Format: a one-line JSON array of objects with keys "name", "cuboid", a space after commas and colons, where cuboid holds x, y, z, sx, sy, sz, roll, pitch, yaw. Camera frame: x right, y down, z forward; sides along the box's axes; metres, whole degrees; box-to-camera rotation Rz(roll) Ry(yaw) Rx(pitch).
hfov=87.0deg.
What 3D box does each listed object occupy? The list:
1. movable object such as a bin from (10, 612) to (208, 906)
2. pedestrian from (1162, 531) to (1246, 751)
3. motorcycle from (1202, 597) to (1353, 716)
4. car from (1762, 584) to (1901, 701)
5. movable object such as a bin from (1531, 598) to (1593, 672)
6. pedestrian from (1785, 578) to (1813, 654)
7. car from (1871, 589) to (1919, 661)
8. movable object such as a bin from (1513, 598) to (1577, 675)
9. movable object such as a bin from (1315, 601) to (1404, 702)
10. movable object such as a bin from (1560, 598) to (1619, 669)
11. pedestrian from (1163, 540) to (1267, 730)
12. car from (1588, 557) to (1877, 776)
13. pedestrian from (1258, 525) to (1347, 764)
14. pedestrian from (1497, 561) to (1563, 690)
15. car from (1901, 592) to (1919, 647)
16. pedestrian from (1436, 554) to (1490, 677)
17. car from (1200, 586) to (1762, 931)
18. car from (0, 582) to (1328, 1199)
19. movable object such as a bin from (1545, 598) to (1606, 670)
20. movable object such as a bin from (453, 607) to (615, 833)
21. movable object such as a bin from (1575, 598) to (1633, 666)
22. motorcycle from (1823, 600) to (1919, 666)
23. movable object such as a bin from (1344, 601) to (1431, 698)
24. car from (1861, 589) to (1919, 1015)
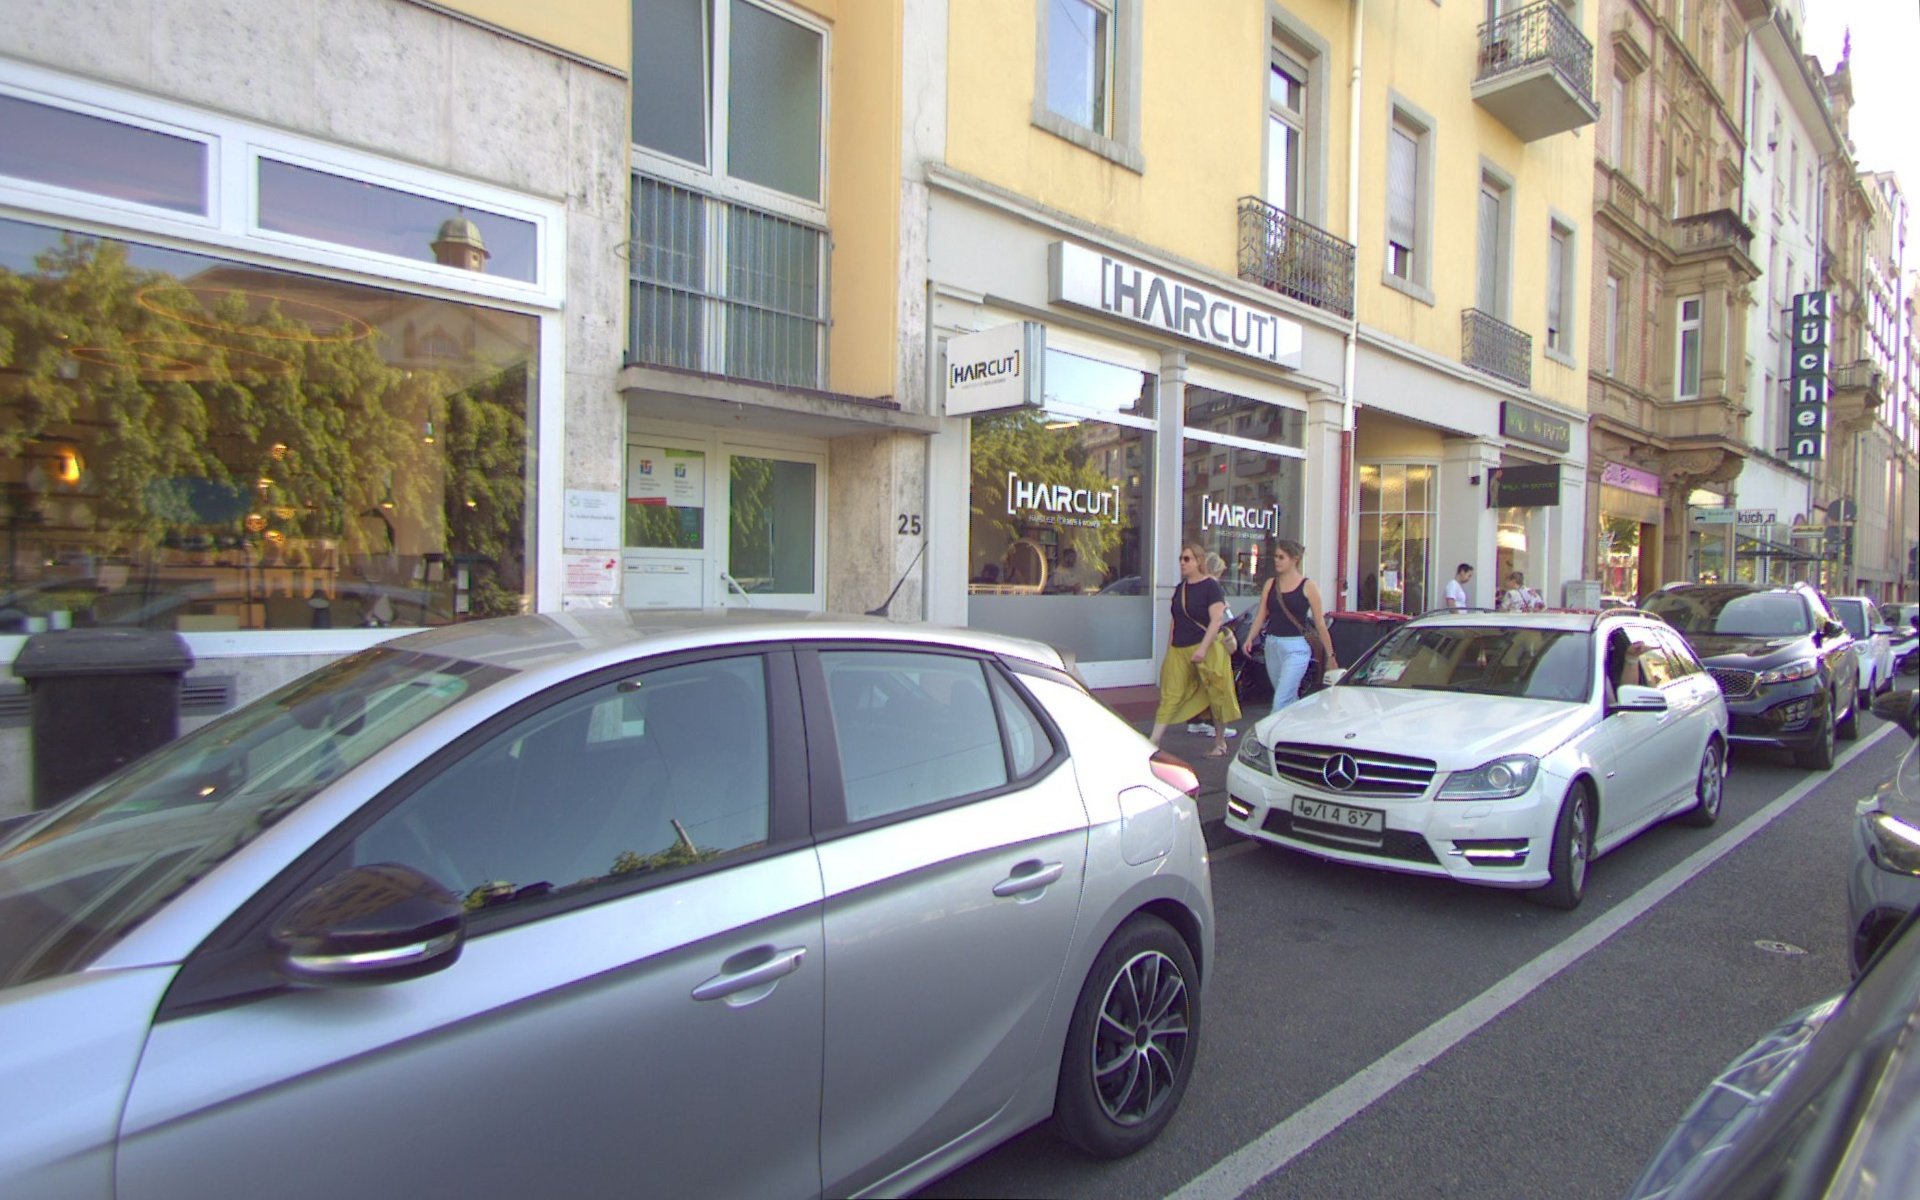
[{"name": "movable object such as a bin", "cuboid": [-3.662, 0.622, 4.372, 0.609, 1.080, 0.704, 0, 4, -41]}, {"name": "pedestrian", "cuboid": [1.912, 0.303, 7.912, 0.610, 1.653, 0.460, 1, 0, 17]}, {"name": "motorcycle", "cuboid": [3.343, 0.536, 10.543, 1.975, 1.105, 0.551, 0, 2, -42]}, {"name": "car", "cuboid": [12.795, 0.547, 14.815, 2.748, 1.537, 1.273, 0, 1, -44]}, {"name": "movable object such as a bin", "cuboid": [9.308, 0.531, 15.659, 0.608, 1.079, 0.606, 0, 4, -41]}, {"name": "pedestrian", "cuboid": [19.983, 0.366, 24.106, 0.473, 1.785, 0.434, 0, 0, -41]}, {"name": "car", "cuboid": [22.061, 0.526, 22.979, 4.096, 1.537, 1.734, 0, 1, -44]}, {"name": "movable object such as a bin", "cuboid": [8.819, 0.537, 15.253, 0.608, 1.079, 0.606, 0, 4, -41]}, {"name": "movable object such as a bin", "cuboid": [4.503, 0.558, 11.420, 0.608, 1.054, 0.661, 1, 3, -38]}, {"name": "movable object such as a bin", "cuboid": [10.237, 0.531, 16.459, 0.608, 1.079, 0.606, 0, 4, -41]}, {"name": "pedestrian", "cuboid": [2.326, 0.293, 9.250, 0.523, 1.653, 0.697, 0, 2, -43]}, {"name": "car", "cuboid": [8.036, 0.505, 10.349, 4.498, 1.758, 1.756, 0, 1, -45]}, {"name": "pedestrian", "cuboid": [2.471, 0.302, 7.295, 0.511, 1.653, 0.410, 1, 0, 33]}, {"name": "pedestrian", "cuboid": [7.652, 0.327, 13.597, 0.583, 1.681, 0.450, 2, 1, 8]}, {"name": "car", "cuboid": [26.641, 0.515, 27.121, 3.736, 1.435, 1.736, 0, 1, -41]}, {"name": "pedestrian", "cuboid": [6.994, 0.209, 14.084, 0.513, 1.681, 0.339, 1, 1, -10]}, {"name": "car", "cuboid": [3.540, 0.658, 6.446, 4.387, 1.465, 1.741, 0, 1, -42]}, {"name": "car", "cuboid": [-0.900, 0.692, 2.432, 4.007, 1.445, 1.673, 0, 1, -42]}, {"name": "movable object such as a bin", "cuboid": [9.766, 0.524, 16.053, 0.608, 1.079, 0.606, 0, 4, -41]}, {"name": "movable object such as a bin", "cuboid": [-2.334, 0.604, 5.531, 0.609, 1.080, 0.704, 0, 4, -41]}, {"name": "movable object such as a bin", "cuboid": [10.758, 0.522, 16.913, 0.608, 1.079, 0.606, 0, 4, -41]}, {"name": "motorcycle", "cuboid": [18.979, 0.660, 20.487, 2.137, 1.295, 0.866, 1, 0, 7]}, {"name": "movable object such as a bin", "cuboid": [4.983, 0.555, 11.800, 0.608, 1.037, 0.669, 1, 3, -38]}, {"name": "car", "cuboid": [5.427, 0.703, 4.334, 4.297, 1.467, 1.846, 0, 1, -41]}]
